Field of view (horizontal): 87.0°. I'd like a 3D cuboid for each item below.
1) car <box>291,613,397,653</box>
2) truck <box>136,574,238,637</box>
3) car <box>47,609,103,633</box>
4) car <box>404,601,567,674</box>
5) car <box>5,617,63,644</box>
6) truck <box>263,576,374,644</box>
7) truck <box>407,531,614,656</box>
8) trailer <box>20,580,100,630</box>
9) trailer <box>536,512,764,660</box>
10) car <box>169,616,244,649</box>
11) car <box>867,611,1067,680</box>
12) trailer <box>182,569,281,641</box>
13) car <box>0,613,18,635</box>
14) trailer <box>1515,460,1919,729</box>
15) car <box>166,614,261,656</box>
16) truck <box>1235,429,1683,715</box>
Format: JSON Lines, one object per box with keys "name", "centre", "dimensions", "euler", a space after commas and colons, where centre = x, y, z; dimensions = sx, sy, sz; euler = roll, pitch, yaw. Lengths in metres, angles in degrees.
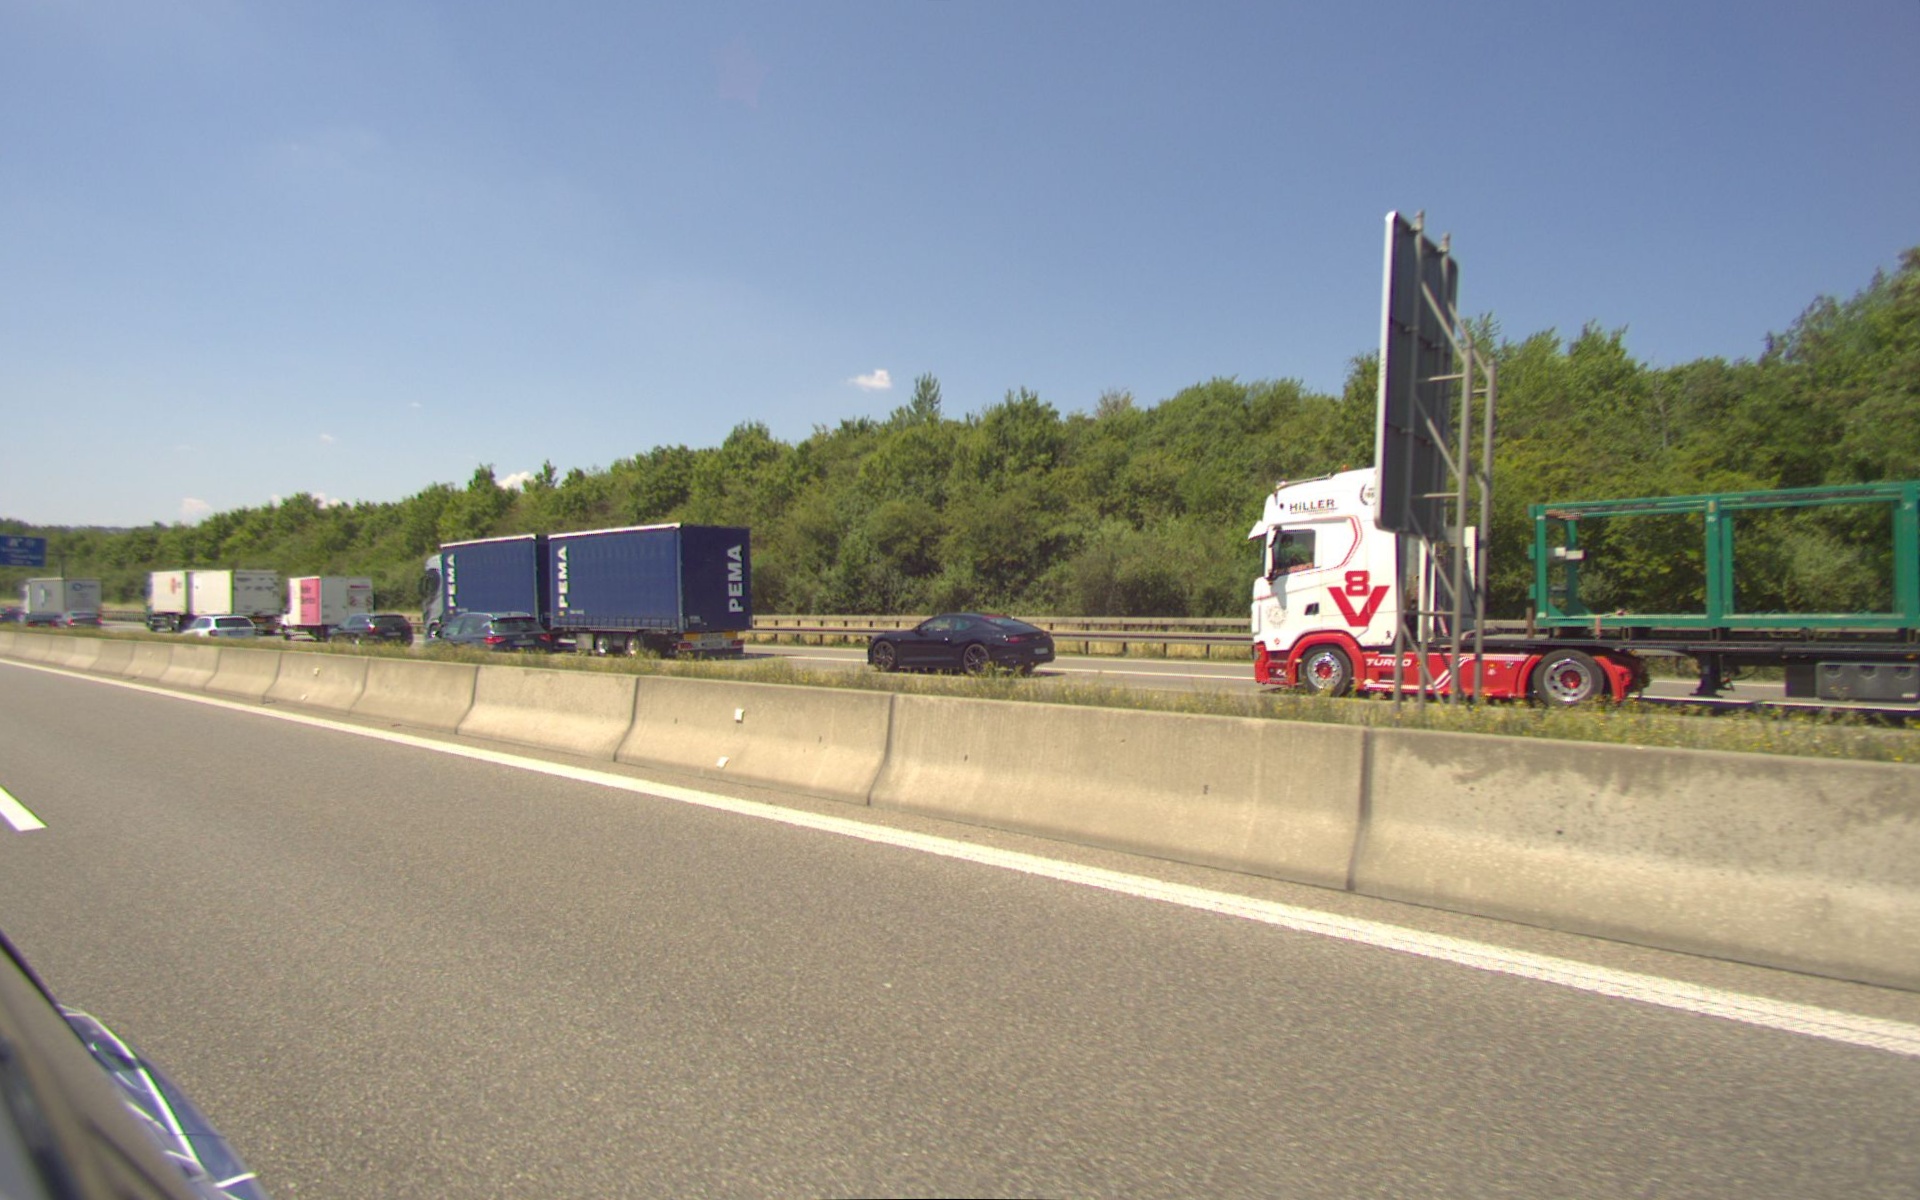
{"name": "car", "centre": [-24.269, 1.269, 39.794], "dimensions": [5.165, 1.466, 1.974], "euler": [-1, -1, 40]}
{"name": "truck", "centre": [-51.842, 0.445, 67.720], "dimensions": [11.234, 3.928, 2.815], "euler": [-1, -2, 39]}
{"name": "car", "centre": [-61.083, 1.428, 69.828], "dimensions": [5.487, 1.557, 1.974], "euler": [0, -1, 38]}
{"name": "car", "centre": [-11.445, 0.858, 24.274], "dimensions": [4.550, 1.595, 1.819], "euler": [-1, -1, 40]}
{"name": "car", "centre": [-56.489, 1.805, 61.731], "dimensions": [4.768, 1.539, 1.974], "euler": [-1, 0, 40]}
{"name": "truck", "centre": [-32.759, 0.516, 51.563], "dimensions": [7.580, 3.232, 2.514], "euler": [-1, -1, 39]}
{"name": "truck", "centre": [-17.583, -0.157, 39.054], "dimensions": [10.725, 4.266, 2.971], "euler": [-1, -1, 40]}
{"name": "trailer", "centre": [-79.107, 0.470, 88.803], "dimensions": [14.427, 4.117, 2.874], "euler": [0, -1, 39]}
{"name": "trailer", "centre": [-10.231, -0.336, 32.814], "dimensions": [8.589, 4.224, 2.955], "euler": [-1, -1, 41]}
{"name": "car", "centre": [-37.860, 1.597, 50.803], "dimensions": [4.768, 1.539, 1.974], "euler": [-1, 0, 40]}
{"name": "car", "centre": [0.080, 0.977, 23.319], "dimensions": [4.644, 1.442, 1.640], "euler": [-1, -1, 40]}
{"name": "trailer", "centre": [-44.596, 0.352, 61.854], "dimensions": [8.222, 4.103, 2.891], "euler": [-1, -2, 40]}
{"name": "car", "centre": [-81.334, 2.012, 85.399], "dimensions": [5.107, 1.654, 1.844], "euler": [2, 1, 38]}
{"name": "trailer", "centre": [14.001, -0.107, 11.923], "dimensions": [12.774, 3.230, 2.829], "euler": [-1, 0, 41]}
{"name": "car", "centre": [-28.256, 1.272, 38.272], "dimensions": [4.871, 1.294, 1.819], "euler": [2, 1, 40]}
{"name": "truck", "centre": [8.143, -0.351, 16.920], "dimensions": [6.173, 3.906, 2.871], "euler": [-1, 0, 40]}
